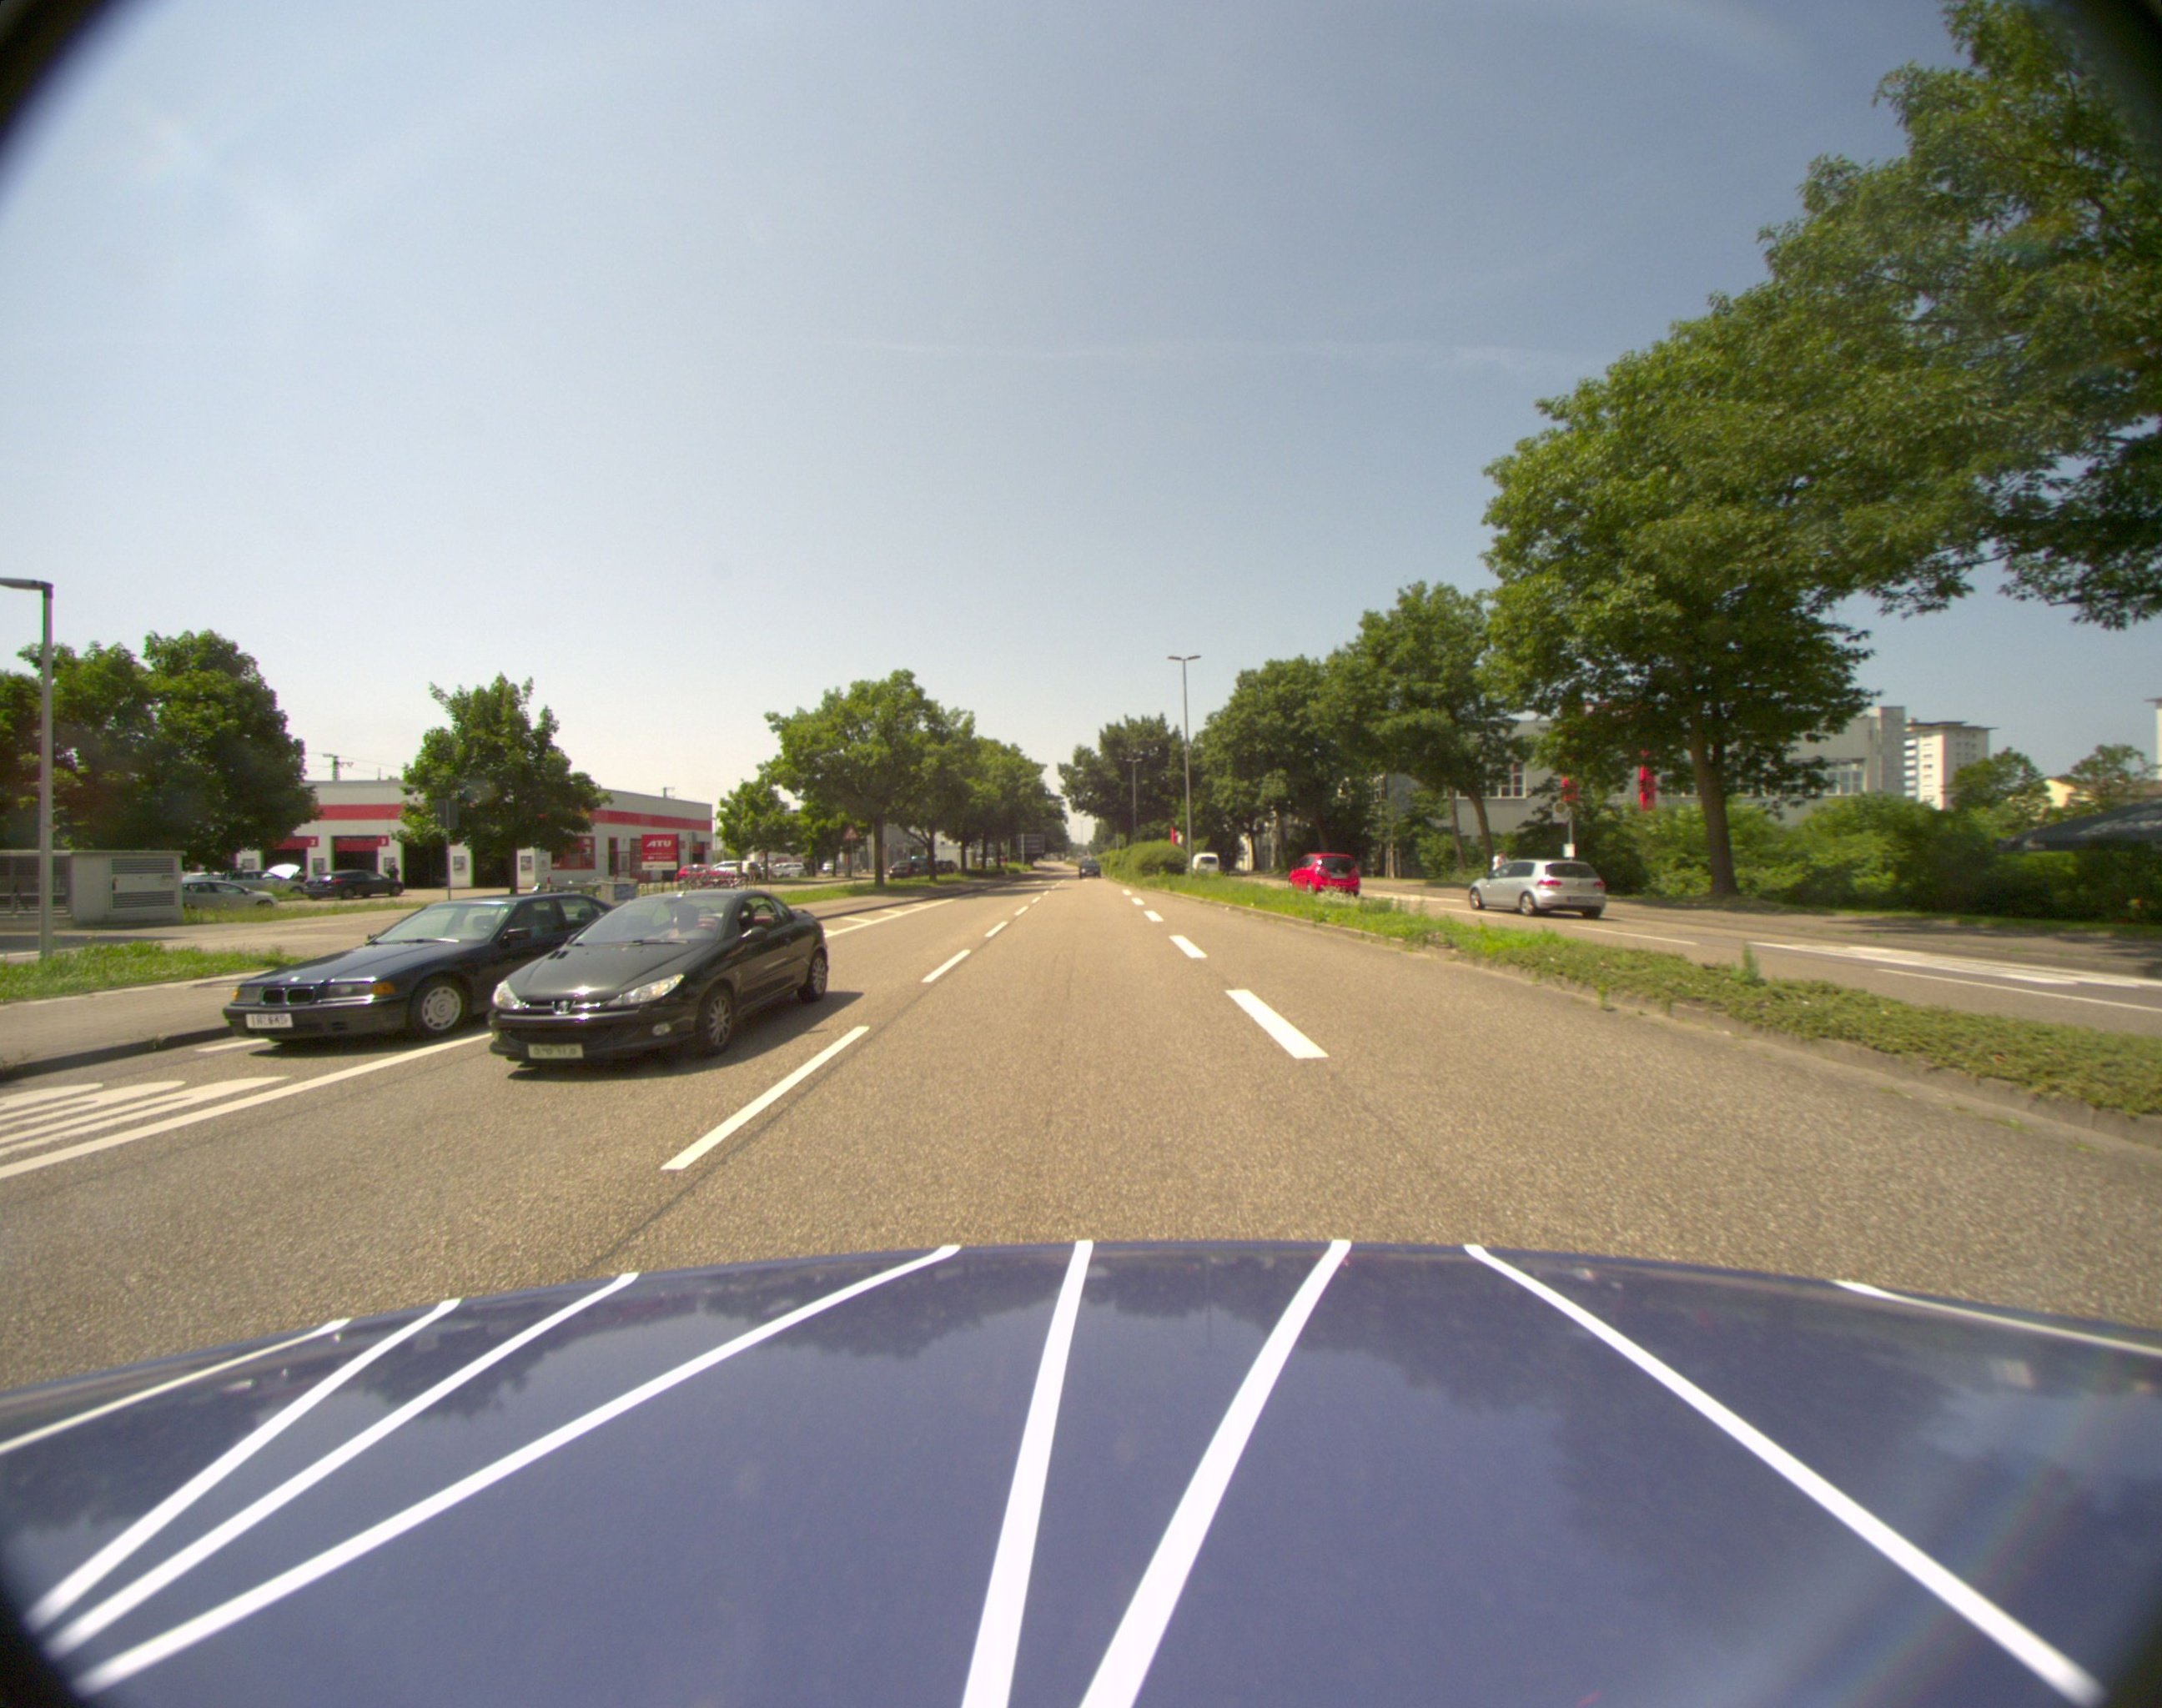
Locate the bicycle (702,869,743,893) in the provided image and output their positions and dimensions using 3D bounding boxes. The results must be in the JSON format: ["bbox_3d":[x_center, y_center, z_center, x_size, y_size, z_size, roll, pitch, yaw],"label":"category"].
[{"bbox_3d":[-17.837,1.335,37.823,1.784,1.117,0.514,-1,0,-6],"label":"bicycle"}]

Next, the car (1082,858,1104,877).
[{"bbox_3d":[0.885,0.993,57.070,1.642,1.395,4.000,-1,0,0],"label":"car"}]

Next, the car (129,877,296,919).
[{"bbox_3d":[-32.166,1.583,28.328,1.653,1.305,3.973,0,0,1],"label":"car"}]

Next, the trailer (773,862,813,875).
[{"bbox_3d":[-23.117,1.148,61.086,2.642,1.046,1.578,-1,0,-2],"label":"trailer"}]

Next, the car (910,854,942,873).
[{"bbox_3d":[-12.641,0.750,62.291,1.719,1.458,4.000,-1,0,1],"label":"car"}]

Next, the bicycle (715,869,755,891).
[{"bbox_3d":[-17.814,1.321,39.149,1.784,1.117,0.514,-1,0,-6],"label":"bicycle"}]

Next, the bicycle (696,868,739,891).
[{"bbox_3d":[-17.752,1.248,37.131,1.784,1.117,0.514,-1,0,-6],"label":"bicycle"}]

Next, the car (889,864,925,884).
[{"bbox_3d":[-12.855,1.428,56.296,1.642,1.363,4.000,-1,0,1],"label":"car"}]

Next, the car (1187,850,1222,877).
[{"bbox_3d":[9.155,0.704,56.804,1.856,1.894,4.425,2,0,0],"label":"car"}]

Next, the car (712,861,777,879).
[{"bbox_3d":[-24.649,1.158,55.746,3.998,1.201,1.747,-1,0,-2],"label":"car"}]

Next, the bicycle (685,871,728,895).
[{"bbox_3d":[-17.943,1.403,36.423,1.784,1.117,0.514,-1,0,-6],"label":"bicycle"}]

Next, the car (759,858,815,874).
[{"bbox_3d":[-24.384,0.981,63.159,3.998,1.293,1.689,-1,0,-2],"label":"car"}]

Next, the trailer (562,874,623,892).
[{"bbox_3d":[-23.551,1.392,36.653,2.137,0.757,1.267,-1,0,2],"label":"trailer"}]

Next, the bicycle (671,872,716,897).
[{"bbox_3d":[-18.180,1.419,35.660,1.784,1.117,0.514,-1,0,-6],"label":"bicycle"}]

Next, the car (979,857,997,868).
[{"bbox_3d":[-12.005,1.082,97.818,1.719,1.458,4.000,-1,0,1],"label":"car"}]

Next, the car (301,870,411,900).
[{"bbox_3d":[-37.623,1.574,39.582,1.717,1.364,4.145,0,0,1],"label":"car"}]

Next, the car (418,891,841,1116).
[{"bbox_3d":[-3.827,1.159,7.378,1.642,1.336,4.000,-3,0,0],"label":"car"}]

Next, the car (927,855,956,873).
[{"bbox_3d":[-12.408,0.892,67.635,1.719,1.511,4.000,-1,0,1],"label":"car"}]

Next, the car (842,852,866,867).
[{"bbox_3d":[-24.544,0.580,82.346,1.759,1.586,3.998,-1,0,-6],"label":"car"}]

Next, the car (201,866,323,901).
[{"bbox_3d":[-41.747,1.461,38.872,1.717,1.653,4.145,0,0,1],"label":"car"}]

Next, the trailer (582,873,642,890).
[{"bbox_3d":[-23.611,1.373,38.323,2.137,0.757,1.394,-1,0,2],"label":"trailer"}]

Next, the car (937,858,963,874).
[{"bbox_3d":[-12.614,1.116,73.497,1.719,1.504,4.000,-1,0,1],"label":"car"}]

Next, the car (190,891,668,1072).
[{"bbox_3d":[-6.955,1.243,8.826,1.641,1.363,4.147,-3,0,6],"label":"car"}]

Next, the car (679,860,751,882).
[{"bbox_3d":[-24.683,1.115,51.342,3.997,1.394,1.747,-1,0,-2],"label":"car"}]

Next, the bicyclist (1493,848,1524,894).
[{"bbox_3d":[15.348,0.593,27.290,0.609,1.621,0.923,0,1,1],"label":"bicyclist"}]

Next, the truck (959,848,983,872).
[{"bbox_3d":[-12.329,0.671,85.406,1.904,2.552,4.001,-1,0,3],"label":"truck"}]

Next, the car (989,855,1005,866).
[{"bbox_3d":[-11.666,0.881,105.493,1.719,1.458,4.000,-1,0,1],"label":"car"}]

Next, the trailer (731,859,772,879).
[{"bbox_3d":[-26.432,1.178,60.941,2.642,1.518,1.415,-1,0,-2],"label":"trailer"}]

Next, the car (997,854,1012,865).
[{"bbox_3d":[-11.234,0.792,111.918,1.719,1.458,4.000,-1,0,1],"label":"car"}]

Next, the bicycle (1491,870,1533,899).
[{"bbox_3d":[15.335,1.081,27.078,0.619,0.963,1.660,0,0,2],"label":"bicycle"}]

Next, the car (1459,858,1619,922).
[{"bbox_3d":[11.922,0.871,20.150,1.753,1.443,4.133,2,0,1],"label":"car"}]

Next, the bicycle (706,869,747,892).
[{"bbox_3d":[-17.927,1.343,38.472,1.784,1.117,0.514,-1,0,-6],"label":"bicycle"}]

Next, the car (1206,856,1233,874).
[{"bbox_3d":[12.803,1.006,70.452,1.720,1.594,4.213,2,0,1],"label":"car"}]

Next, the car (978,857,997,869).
[{"bbox_3d":[-11.203,1.062,91.482,1.719,1.458,4.000,-1,0,1],"label":"car"}]

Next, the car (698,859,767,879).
[{"bbox_3d":[-24.571,1.053,53.660,3.998,1.394,1.747,-1,0,-2],"label":"car"}]

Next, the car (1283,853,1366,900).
[{"bbox_3d":[8.932,0.772,28.256,1.753,1.560,4.153,2,0,1],"label":"car"}]

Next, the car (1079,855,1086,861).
[{"bbox_3d":[0.565,1.253,228.612,1.998,1.692,4.000,-1,0,0],"label":"car"}]

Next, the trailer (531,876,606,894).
[{"bbox_3d":[-23.424,1.411,34.776,2.466,0.757,1.449,-1,0,2],"label":"trailer"}]
